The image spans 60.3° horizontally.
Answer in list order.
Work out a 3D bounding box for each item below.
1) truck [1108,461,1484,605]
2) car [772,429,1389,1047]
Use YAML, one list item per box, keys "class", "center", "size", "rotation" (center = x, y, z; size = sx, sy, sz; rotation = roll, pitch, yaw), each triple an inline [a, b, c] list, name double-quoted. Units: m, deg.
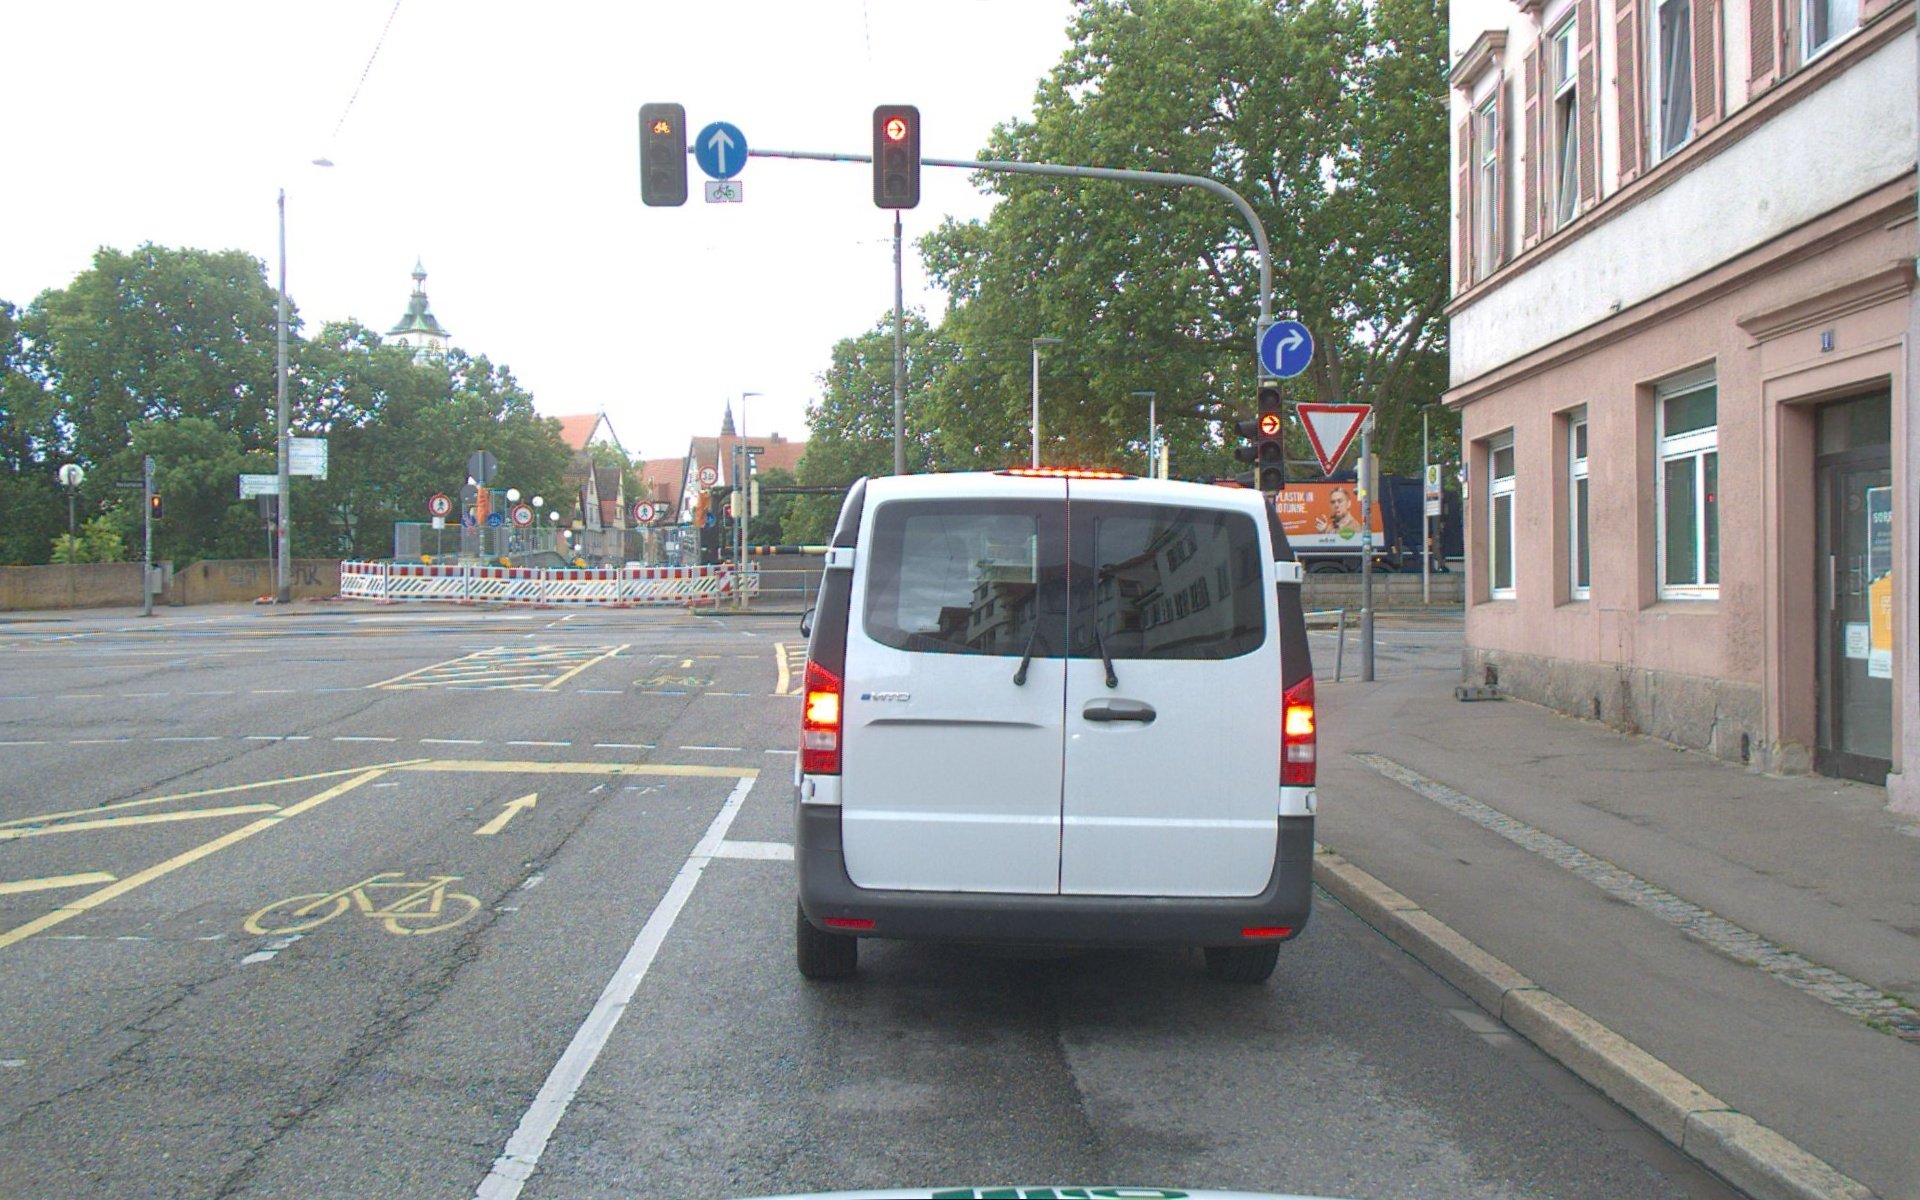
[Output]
- class: "truck"
  center: [9.196, -1.774, 45.377]
  size: [9.998, 3.760, 2.266]
  rotation: [0, 0, -10]
- class: "car"
  center: [0.280, 0.377, 7.403]
  size: [1.954, 1.956, 4.247]
  rotation: [1, 2, -3]
